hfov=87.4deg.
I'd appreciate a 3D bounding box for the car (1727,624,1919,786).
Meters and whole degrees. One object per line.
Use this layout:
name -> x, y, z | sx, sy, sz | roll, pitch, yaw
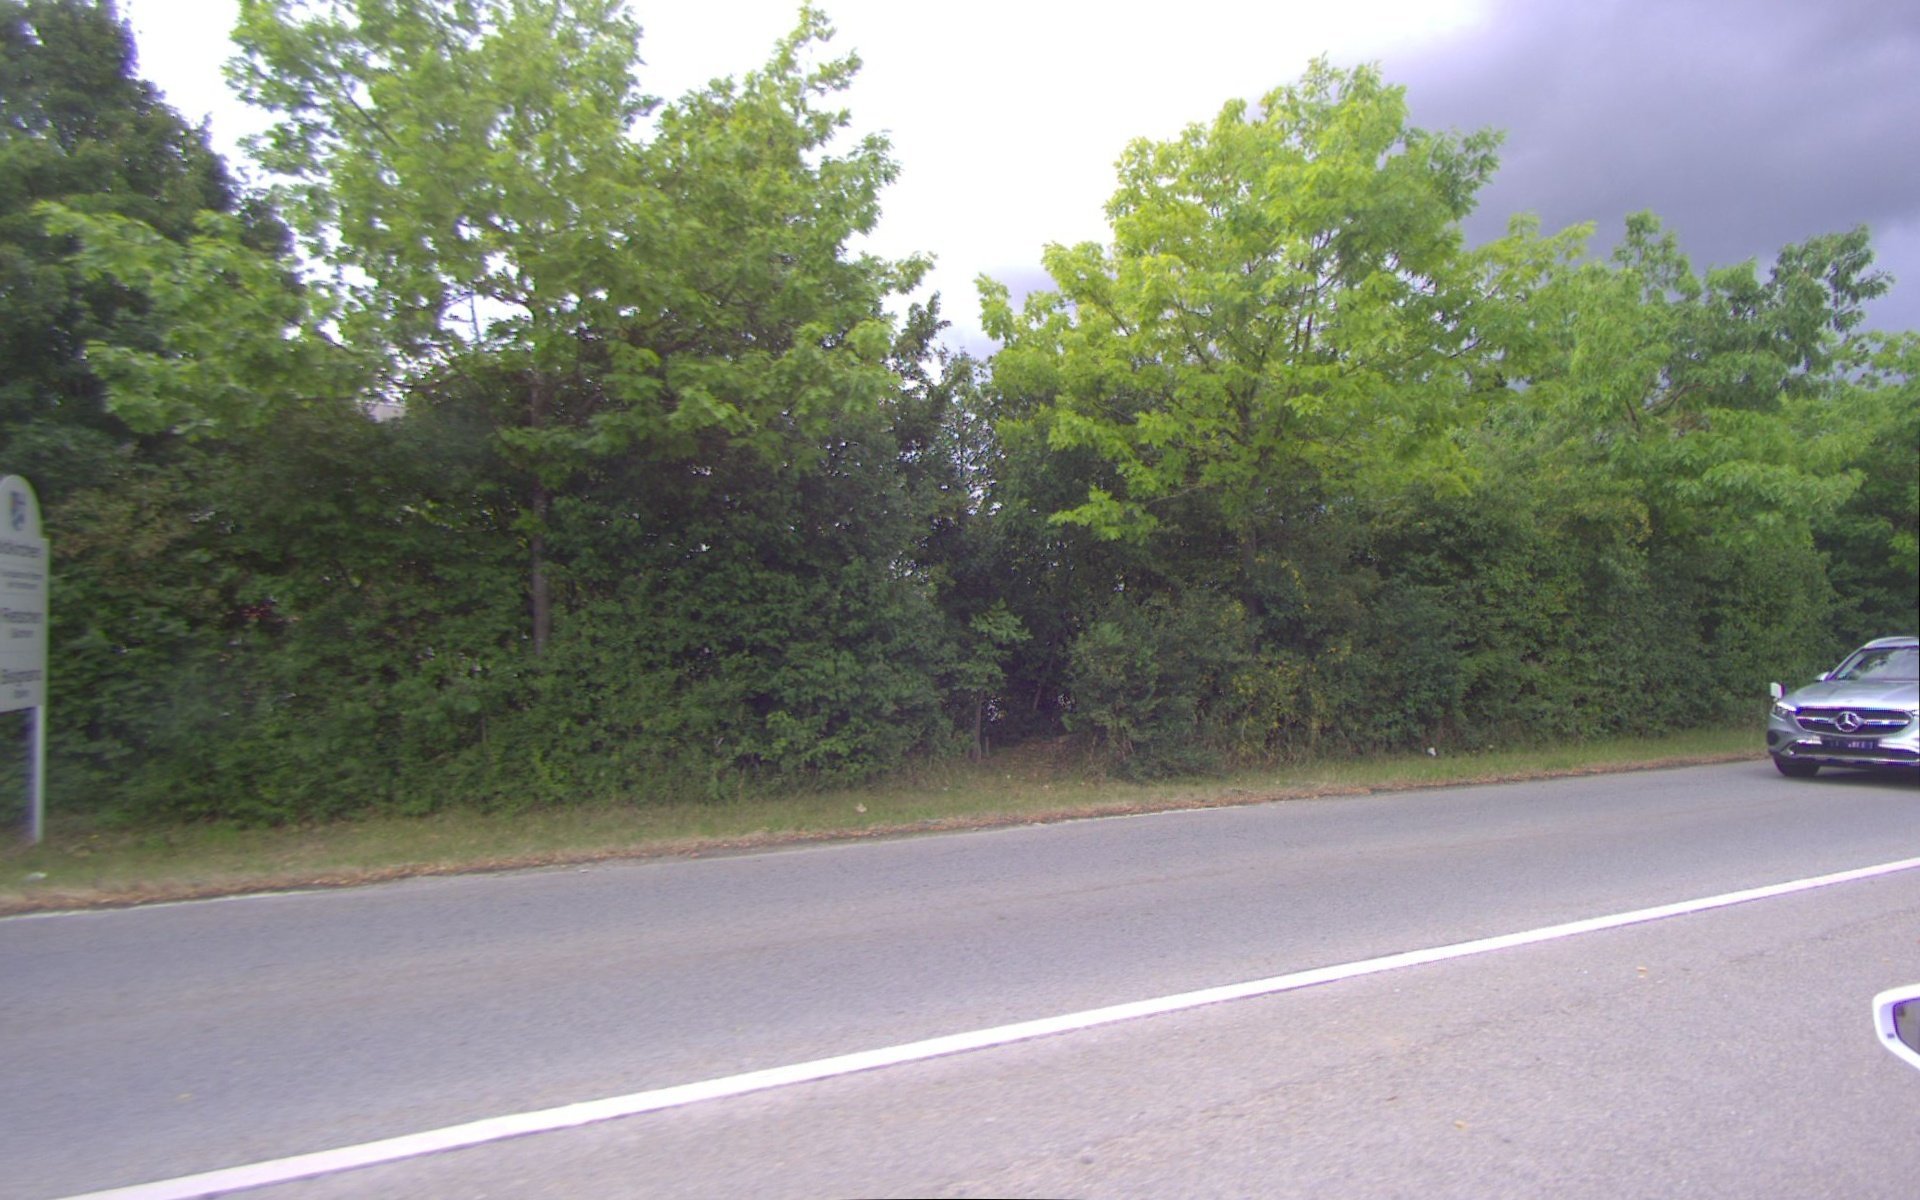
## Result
car -> 11.334, 1.157, 11.757 | 4.606, 1.622, 1.986 | 2, -3, -28
